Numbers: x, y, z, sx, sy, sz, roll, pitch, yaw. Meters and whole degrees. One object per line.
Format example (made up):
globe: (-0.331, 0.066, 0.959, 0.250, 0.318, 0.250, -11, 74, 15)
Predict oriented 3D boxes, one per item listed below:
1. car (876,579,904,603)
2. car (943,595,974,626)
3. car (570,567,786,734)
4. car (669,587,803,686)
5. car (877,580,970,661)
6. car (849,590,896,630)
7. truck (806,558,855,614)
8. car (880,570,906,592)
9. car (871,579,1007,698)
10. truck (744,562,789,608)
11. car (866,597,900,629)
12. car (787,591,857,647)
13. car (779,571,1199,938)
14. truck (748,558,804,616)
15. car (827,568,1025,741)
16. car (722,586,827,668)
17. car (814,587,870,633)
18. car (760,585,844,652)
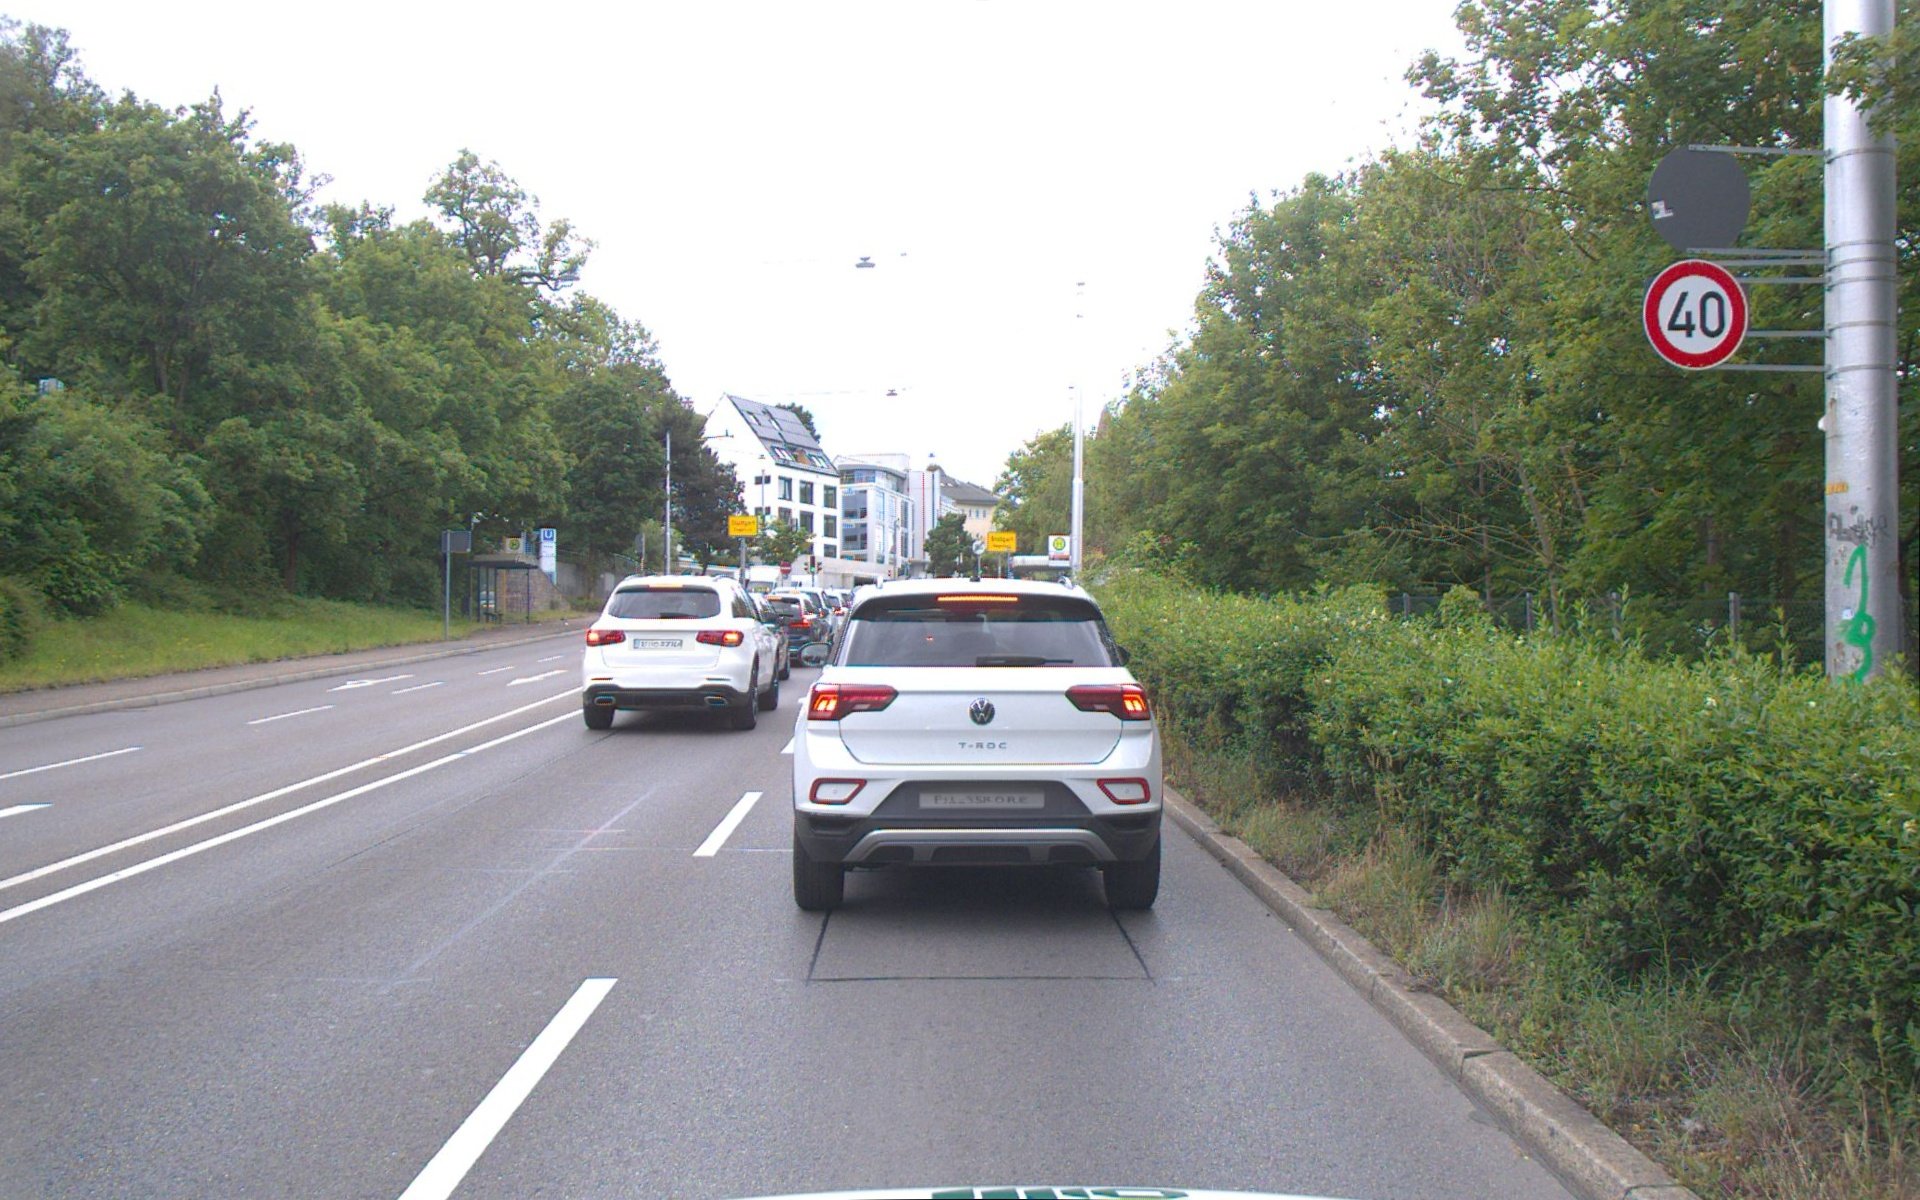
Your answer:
car: (-4.743, -0.611, 112.349, 1.792, 1.552, 3.999, -1, 0, -2)
car: (-0.126, 0.701, 112.371, 1.953, 2.049, 3.999, -1, 0, -1)
car: (-3.101, 0.513, 18.982, 1.879, 1.698, 3.999, 0, 0, -2)
car: (-3.681, 0.558, 27.824, 1.792, 1.523, 3.999, -1, 0, -2)
car: (-0.776, 0.396, 34.627, 1.792, 1.552, 3.999, -1, 0, -2)
car: (-3.534, 0.403, 67.413, 1.792, 1.552, 3.999, -1, 0, -2)
truck: (-6.837, -0.733, 87.744, 2.315, 2.830, 4.476, -2, 0, -2)
car: (-4.789, -1.366, 119.074, 1.792, 1.552, 3.999, -1, 0, -2)
car: (-0.331, 0.506, 24.048, 1.792, 1.552, 3.999, -1, 0, -2)
truck: (-13.494, -1.004, 115.837, 2.246, 3.104, 6.979, -1, 0, 0)
car: (-4.330, 0.740, 93.132, 1.778, 1.685, 3.927, -2, 0, -2)
car: (-4.040, 0.518, 48.926, 1.792, 1.552, 3.999, -1, 0, -2)
car: (0.072, 0.647, 9.083, 1.792, 1.552, 3.999, 0, 0, -2)
truck: (-9.189, -0.635, 82.954, 2.315, 2.754, 4.476, -2, 0, -2)
car: (-0.366, 0.491, 17.171, 1.792, 1.552, 3.999, -1, 0, -2)
car: (-3.736, 0.504, 33.949, 1.792, 1.552, 3.999, -1, 0, -2)
car: (-4.153, 0.344, 58.747, 1.792, 1.552, 3.999, -1, 0, -2)
car: (-3.869, 0.433, 41.048, 1.792, 1.552, 3.999, -1, 0, -2)
